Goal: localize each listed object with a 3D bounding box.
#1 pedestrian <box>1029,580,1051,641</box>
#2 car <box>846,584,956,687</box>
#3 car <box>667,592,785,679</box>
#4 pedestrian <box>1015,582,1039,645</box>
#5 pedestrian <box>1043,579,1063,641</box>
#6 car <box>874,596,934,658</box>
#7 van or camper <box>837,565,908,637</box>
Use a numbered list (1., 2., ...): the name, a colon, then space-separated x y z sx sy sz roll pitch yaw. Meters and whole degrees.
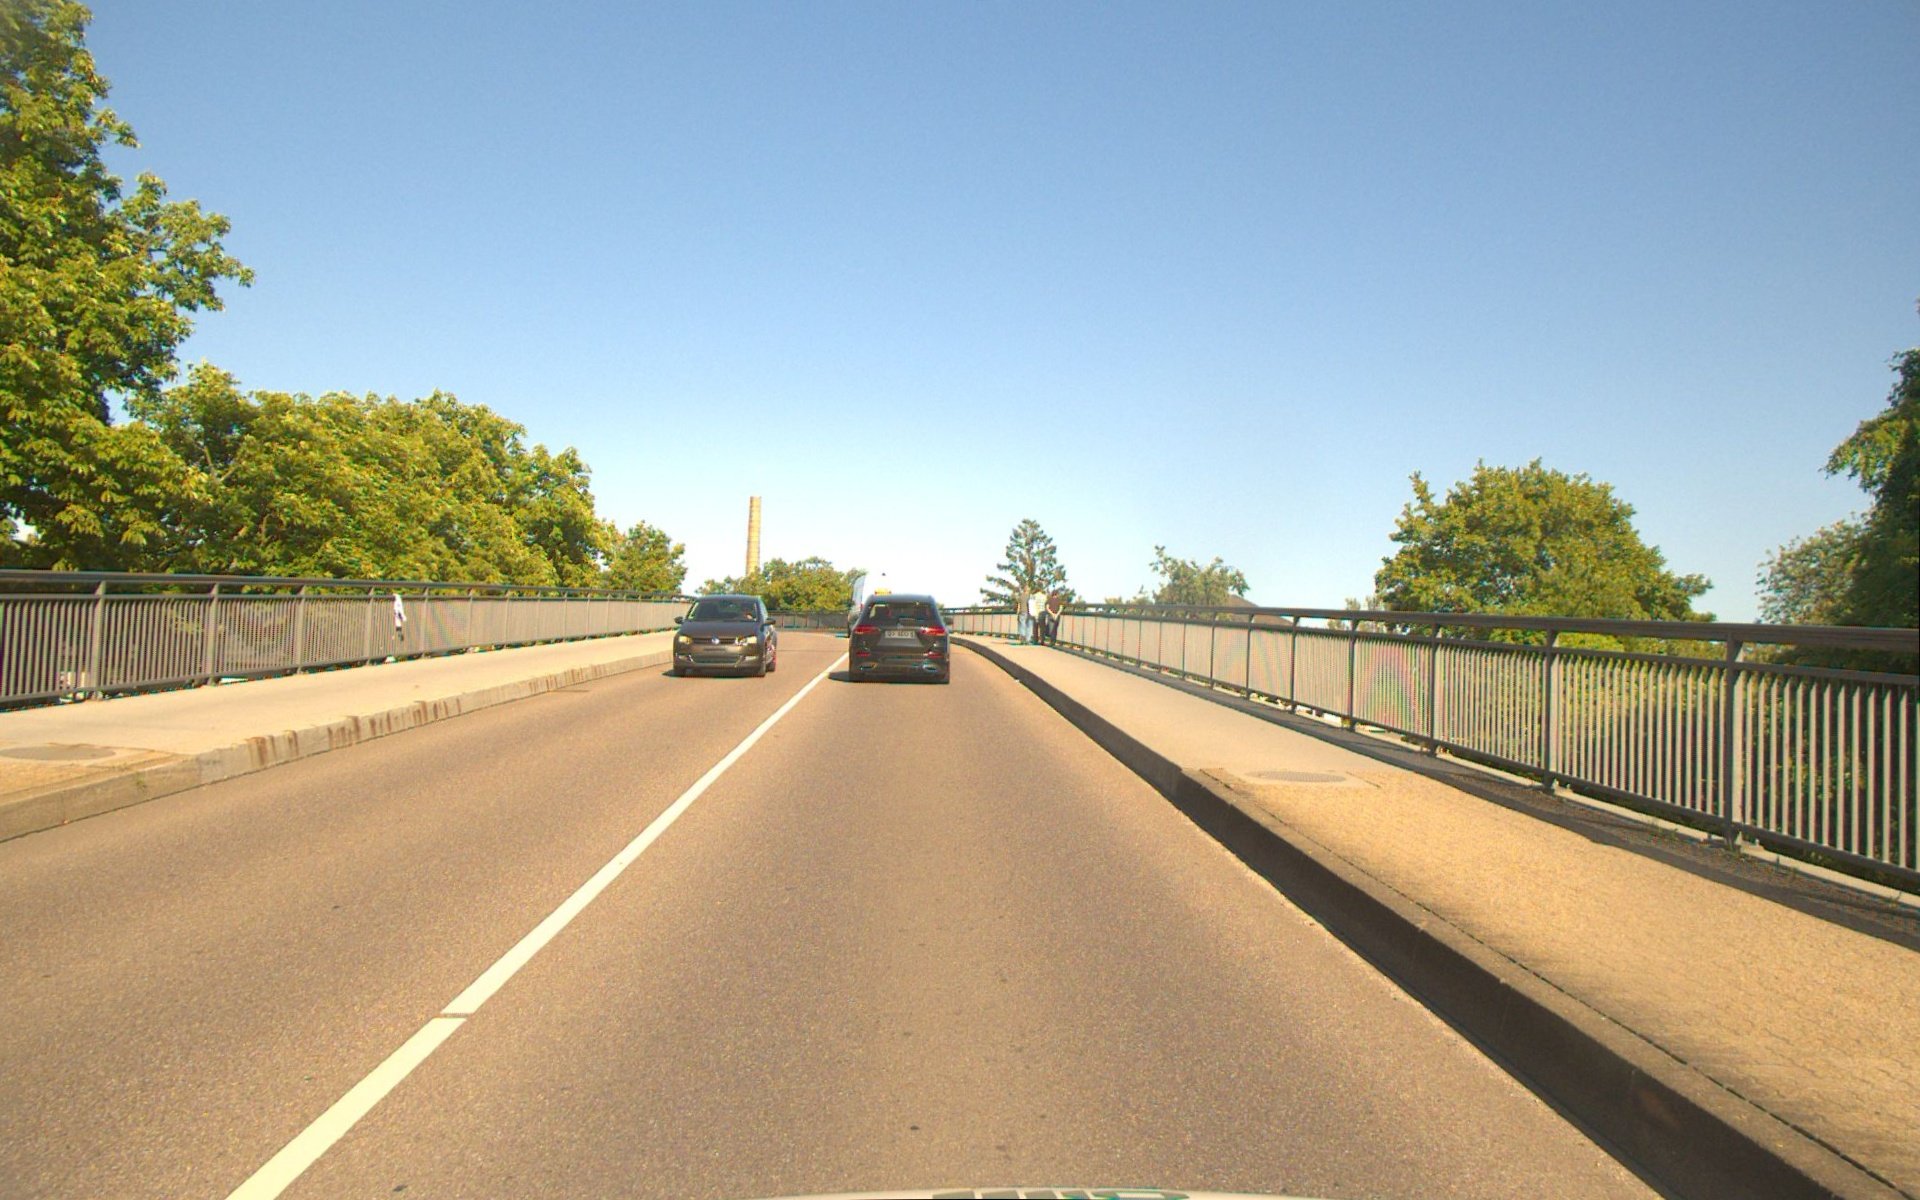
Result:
1. pedestrian: 2.374 0.320 49.094 0.538 1.781 0.738 2 -3 -2
2. car: -1.123 0.576 29.697 1.735 1.620 3.986 2 1 -5
3. car: -4.247 0.622 30.515 1.734 1.500 3.987 0 0 -2
4. pedestrian: 1.951 0.401 48.151 0.590 1.781 0.716 2 -3 -2
5. pedestrian: 2.723 0.297 48.290 0.462 1.781 0.653 2 -3 -2
6. car: -1.736 0.895 52.613 1.768 1.669 3.998 2 -4 -1
7. van or camper: -3.900 0.119 72.486 2.185 2.787 7.062 3 -3 -9
